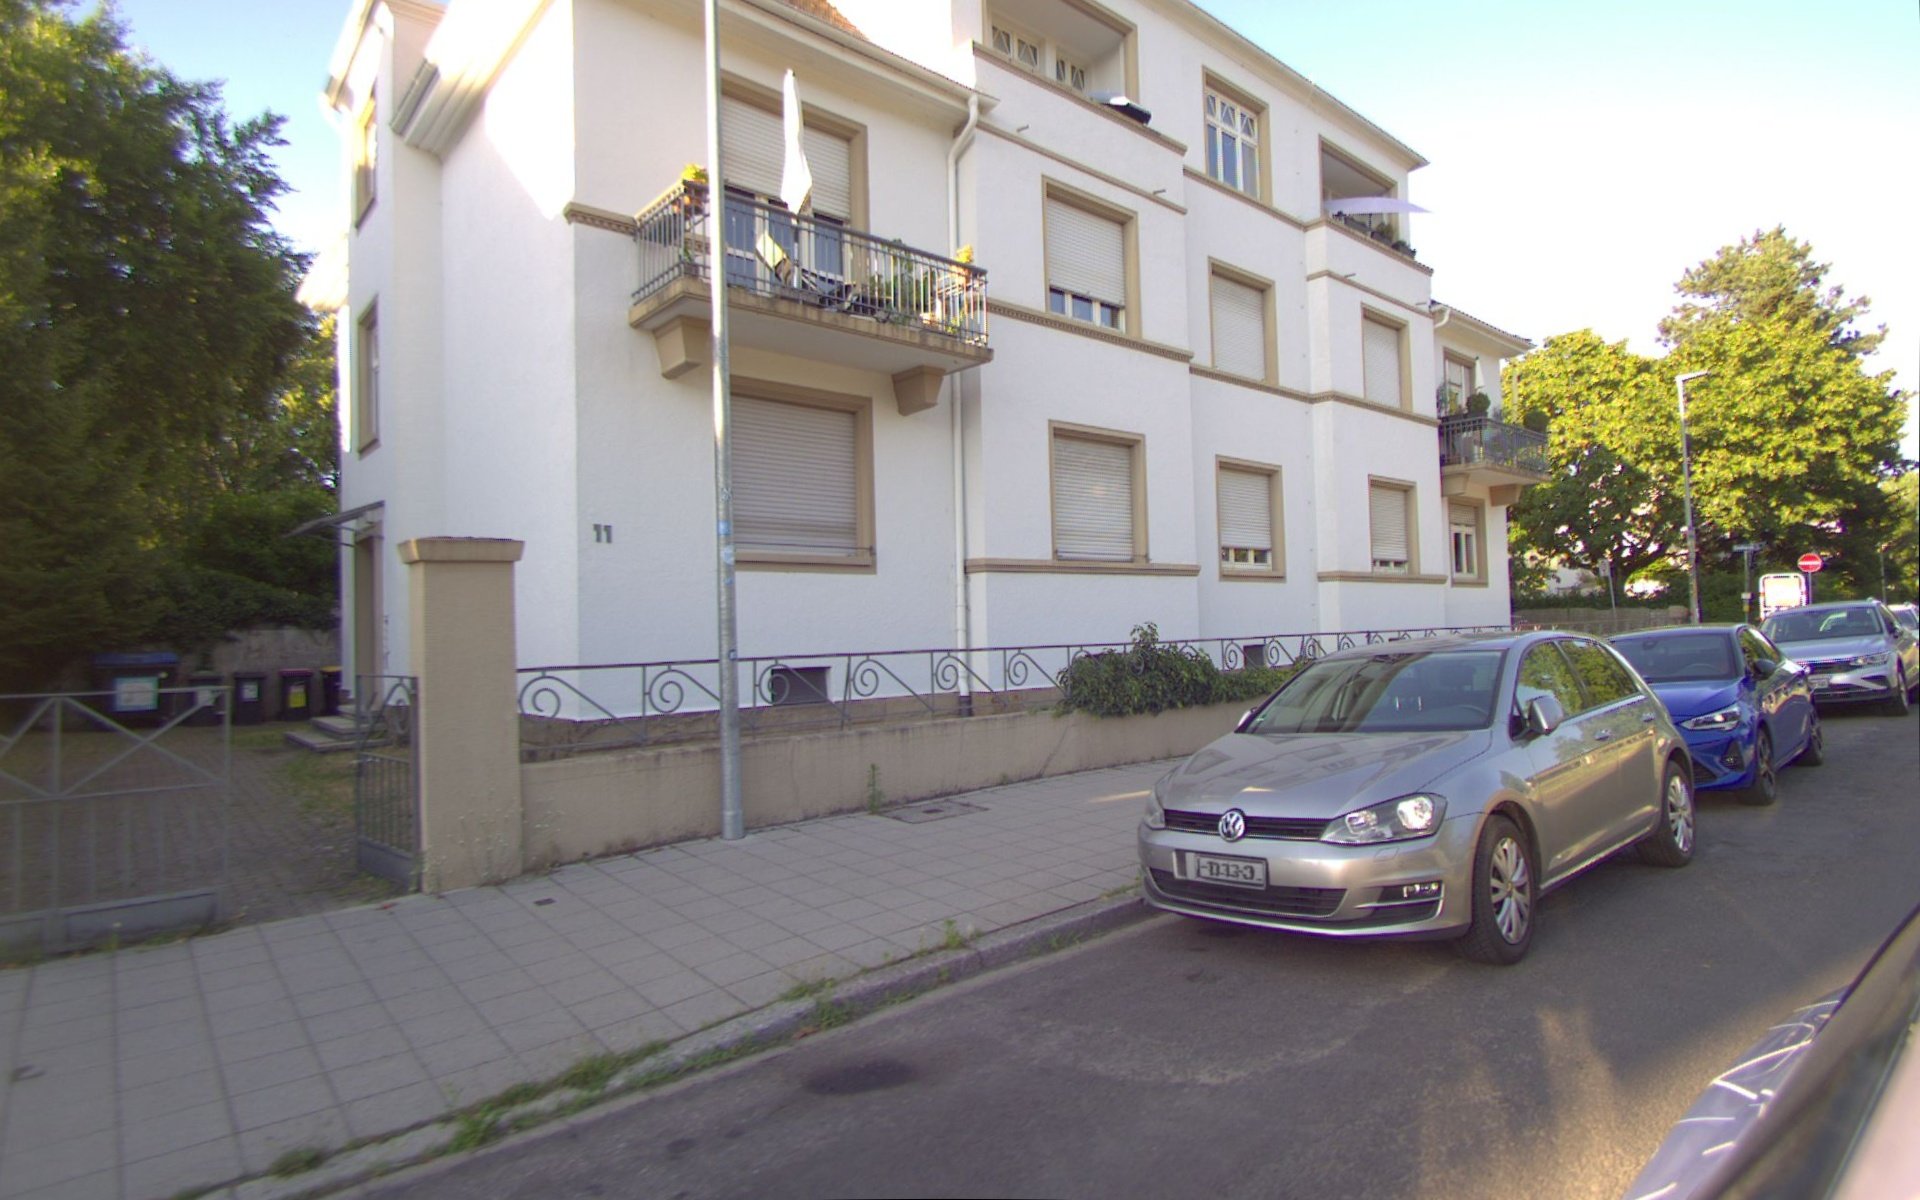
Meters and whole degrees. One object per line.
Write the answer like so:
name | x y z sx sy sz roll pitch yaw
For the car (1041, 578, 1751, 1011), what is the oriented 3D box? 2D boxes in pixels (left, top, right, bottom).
car | 2.780 0.833 5.925 4.485 1.580 1.913 1 -7 -41

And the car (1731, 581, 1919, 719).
car | 13.215 0.671 15.078 4.507 1.670 1.802 -2 -6 -42

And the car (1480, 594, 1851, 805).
car | 6.667 0.831 9.372 4.231 1.454 1.763 -1 -7 -43

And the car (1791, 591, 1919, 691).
car | 17.472 0.681 19.003 4.508 1.554 1.878 -2 -7 -40
